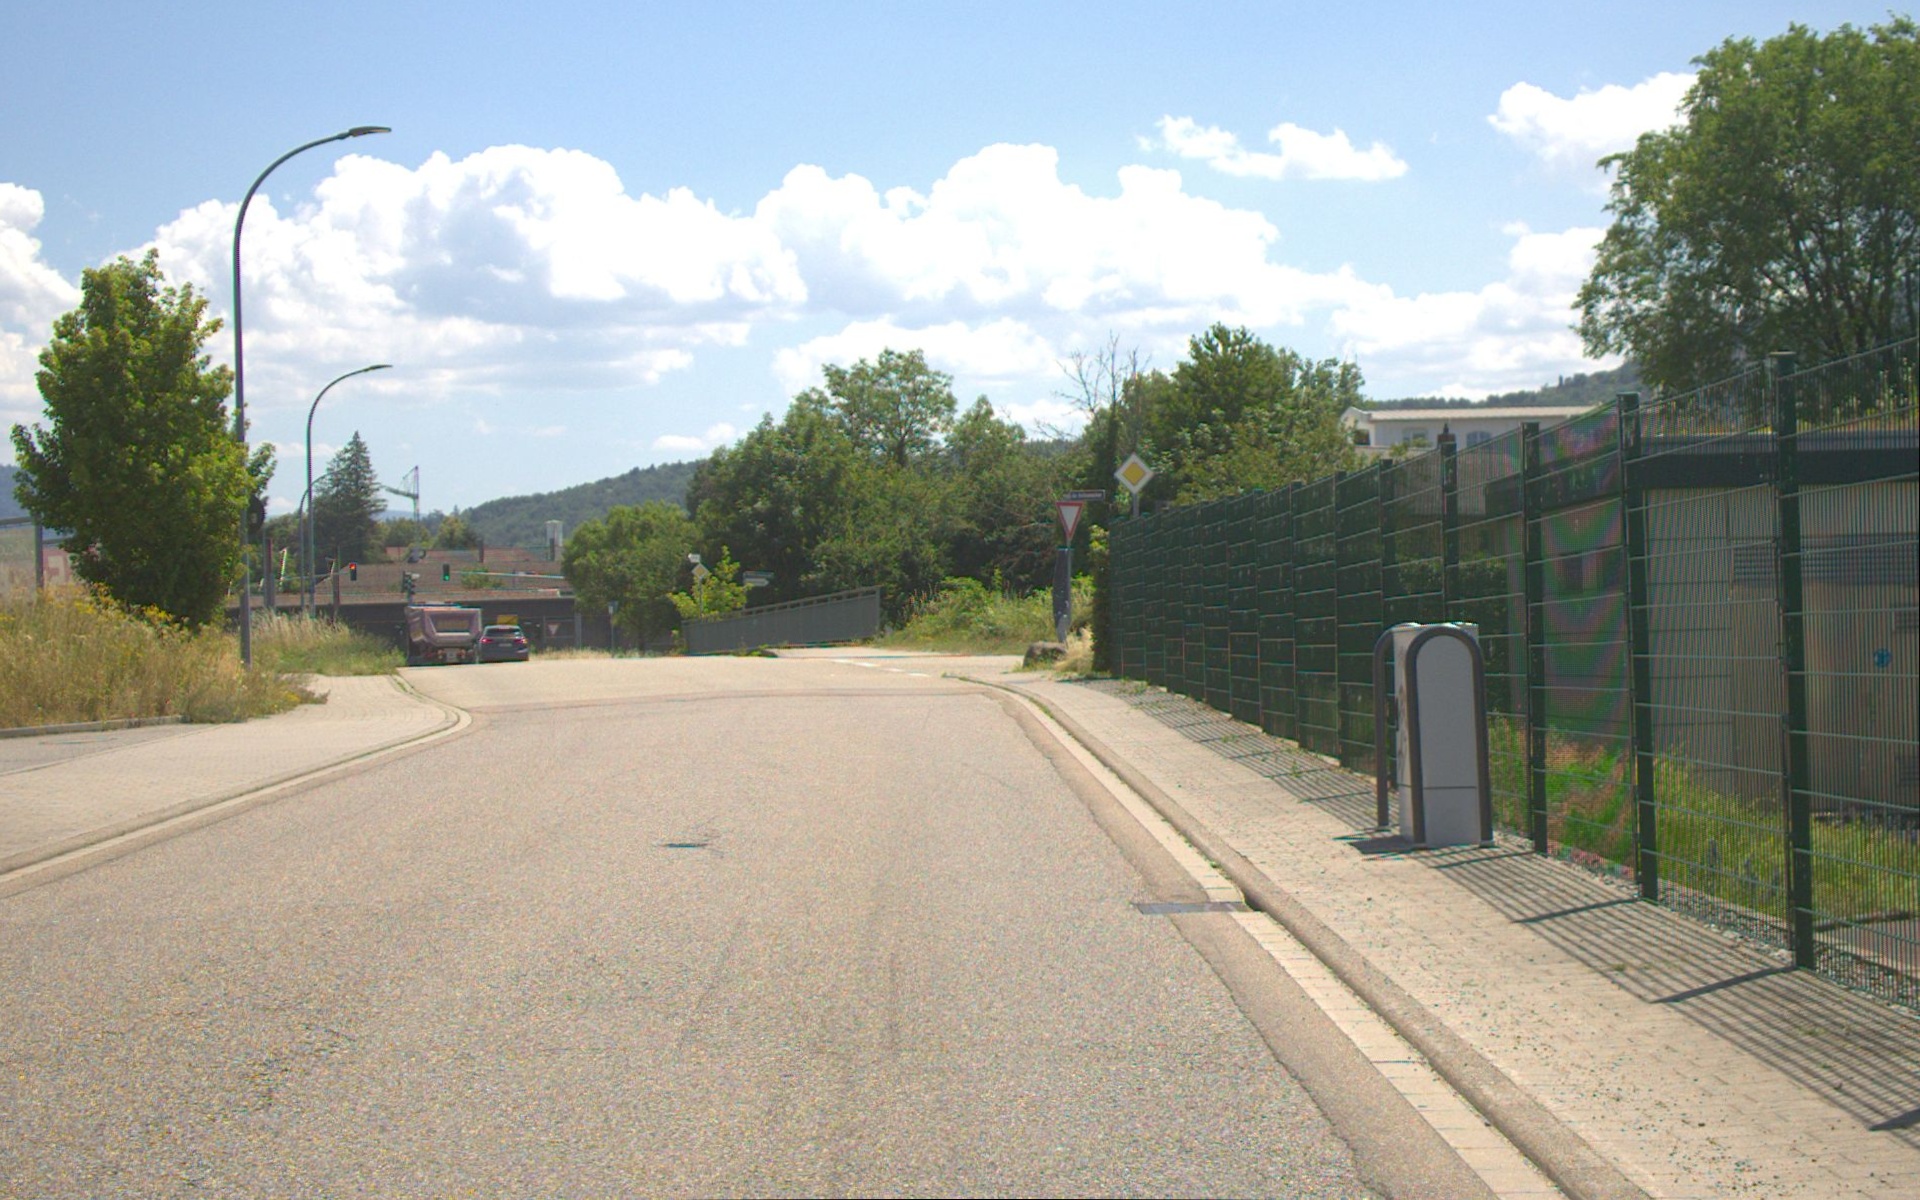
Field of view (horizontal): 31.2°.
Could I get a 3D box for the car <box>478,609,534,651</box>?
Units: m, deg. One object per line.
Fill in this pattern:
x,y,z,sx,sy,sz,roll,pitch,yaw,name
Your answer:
-16.504,1.088,124.817,1.775,1.443,3.453,0,1,-11,car

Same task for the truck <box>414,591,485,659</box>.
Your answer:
-21.974,1.045,147.692,2.682,2.763,6.091,0,1,-11,truck
